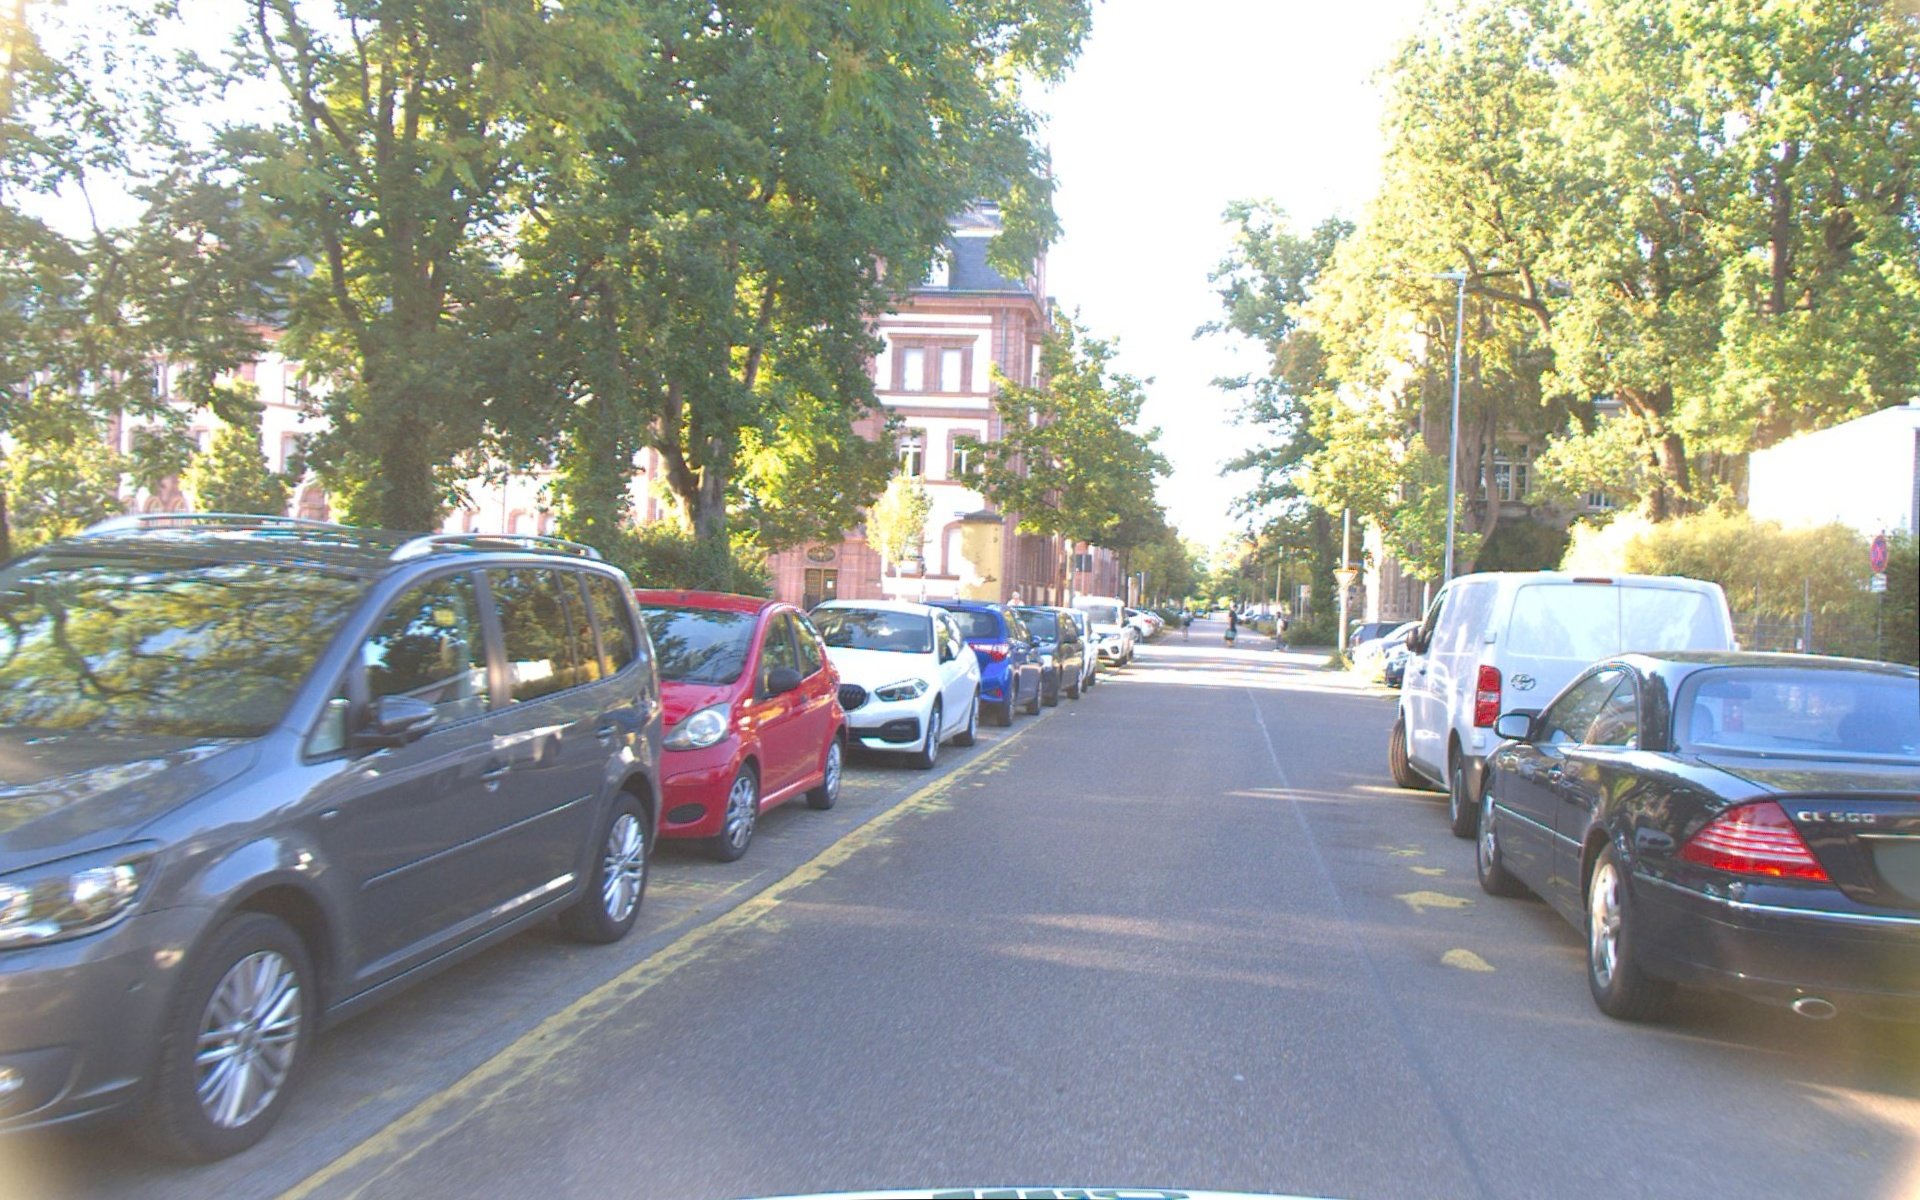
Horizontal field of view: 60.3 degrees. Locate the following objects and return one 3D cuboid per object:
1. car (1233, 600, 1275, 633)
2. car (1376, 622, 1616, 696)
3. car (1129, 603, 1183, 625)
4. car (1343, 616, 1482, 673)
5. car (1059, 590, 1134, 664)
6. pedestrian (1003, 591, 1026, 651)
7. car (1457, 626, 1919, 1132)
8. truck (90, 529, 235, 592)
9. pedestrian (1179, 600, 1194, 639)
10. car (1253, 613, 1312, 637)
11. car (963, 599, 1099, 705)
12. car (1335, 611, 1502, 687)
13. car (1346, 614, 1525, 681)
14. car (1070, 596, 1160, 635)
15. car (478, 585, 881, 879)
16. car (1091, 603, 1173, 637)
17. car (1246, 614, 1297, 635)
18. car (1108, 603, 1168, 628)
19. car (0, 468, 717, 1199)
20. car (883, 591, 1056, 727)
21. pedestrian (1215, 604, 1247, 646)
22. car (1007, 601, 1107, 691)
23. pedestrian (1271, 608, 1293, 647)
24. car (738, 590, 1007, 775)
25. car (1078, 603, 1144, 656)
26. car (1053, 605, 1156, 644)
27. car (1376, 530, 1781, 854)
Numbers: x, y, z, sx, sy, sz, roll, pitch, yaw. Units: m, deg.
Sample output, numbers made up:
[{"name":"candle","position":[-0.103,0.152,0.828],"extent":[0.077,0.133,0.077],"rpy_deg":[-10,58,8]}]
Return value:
[{"name":"car","position":[35.815,2.005,201.528],"extent":[4.782,3.681,1.843],"rpy_deg":[3,0,8]},{"name":"car","position":[10.999,1.209,34.239],"extent":[4.491,1.439,1.924],"rpy_deg":[0,-1,10]},{"name":"car","position":[16.494,1.161,139.016],"extent":[4.388,1.636,1.843],"rpy_deg":[3,0,7]},{"name":"car","position":[13.648,1.354,50.109],"extent":[3.870,1.543,1.875],"rpy_deg":[2,-2,10]},{"name":"car","position":[3.826,0.725,45.787],"extent":[1.743,1.873,4.556],"rpy_deg":[2,0,8]},{"name":"pedestrian","position":[1.681,0.641,50.960],"extent":[0.586,1.815,0.947],"rpy_deg":[2,0,6]},{"name":"car","position":[3.598,0.935,7.548],"extent":[1.728,1.493,4.869],"rpy_deg":[2,0,7]},{"name":"truck","position":[-43.464,-2.172,90.071],"extent":[7.824,3.082,2.611],"rpy_deg":[3,0,24]},{"name":"pedestrian","position":[11.965,1.024,87.453],"extent":[0.703,1.996,0.788],"rpy_deg":[2,-1,7]},{"name":"car","position":[25.178,1.940,129.282],"extent":[4.388,1.636,1.843],"rpy_deg":[3,0,7]},{"name":"car","position":[1.222,0.790,26.891],"extent":[1.518,1.520,3.946],"rpy_deg":[2,0,12]},{"name":"car","position":[10.808,1.139,39.145],"extent":[3.422,1.612,1.762],"rpy_deg":[2,0,-1]},{"name":"car","position":[12.911,1.273,45.126],"extent":[4.396,1.576,1.892],"rpy_deg":[2,0,6]},{"name":"car","position":[7.808,0.786,83.131],"extent":[4.388,1.746,1.843],"rpy_deg":[2,0,7]},{"name":"car","position":[-1.585,0.700,10.479],"extent":[1.358,1.448,3.429],"rpy_deg":[4,0,10]},{"name":"car","position":[9.498,1.071,91.041],"extent":[4.388,1.636,1.843],"rpy_deg":[3,0,7]},{"name":"car","position":[29.128,2.285,154.716],"extent":[4.486,1.636,1.843],"rpy_deg":[3,0,7]},{"name":"car","position":[13.381,1.183,124.485],"extent":[4.388,1.636,1.843],"rpy_deg":[3,0,7]},{"name":"car","position":[-2.405,0.535,5.596],"extent":[1.764,1.704,4.324],"rpy_deg":[4,0,10]},{"name":"car","position":[0.214,0.725,21.907],"extent":[1.604,1.521,3.708],"rpy_deg":[4,0,10]},{"name":"pedestrian","position":[12.658,1.180,77.300],"extent":[1.046,1.890,0.995],"rpy_deg":[3,0,-23]},{"name":"car","position":[1.923,0.837,31.865],"extent":[1.558,1.553,3.868],"rpy_deg":[2,0,8]},{"name":"pedestrian","position":[13.998,1.201,71.905],"extent":[0.768,1.634,0.721],"rpy_deg":[2,-1,3]},{"name":"car","position":[-0.698,0.703,15.963],"extent":[1.654,1.430,3.978],"rpy_deg":[4,0,10]},{"name":"car","position":[4.899,0.923,53.188],"extent":[1.743,1.531,4.556],"rpy_deg":[3,0,9]},{"name":"car","position":[6.900,1.134,78.622],"extent":[4.740,1.622,1.843],"rpy_deg":[2,0,7]},{"name":"car","position":[4.731,0.609,13.522],"extent":[1.911,2.049,5.157],"rpy_deg":[2,0,7]}]
